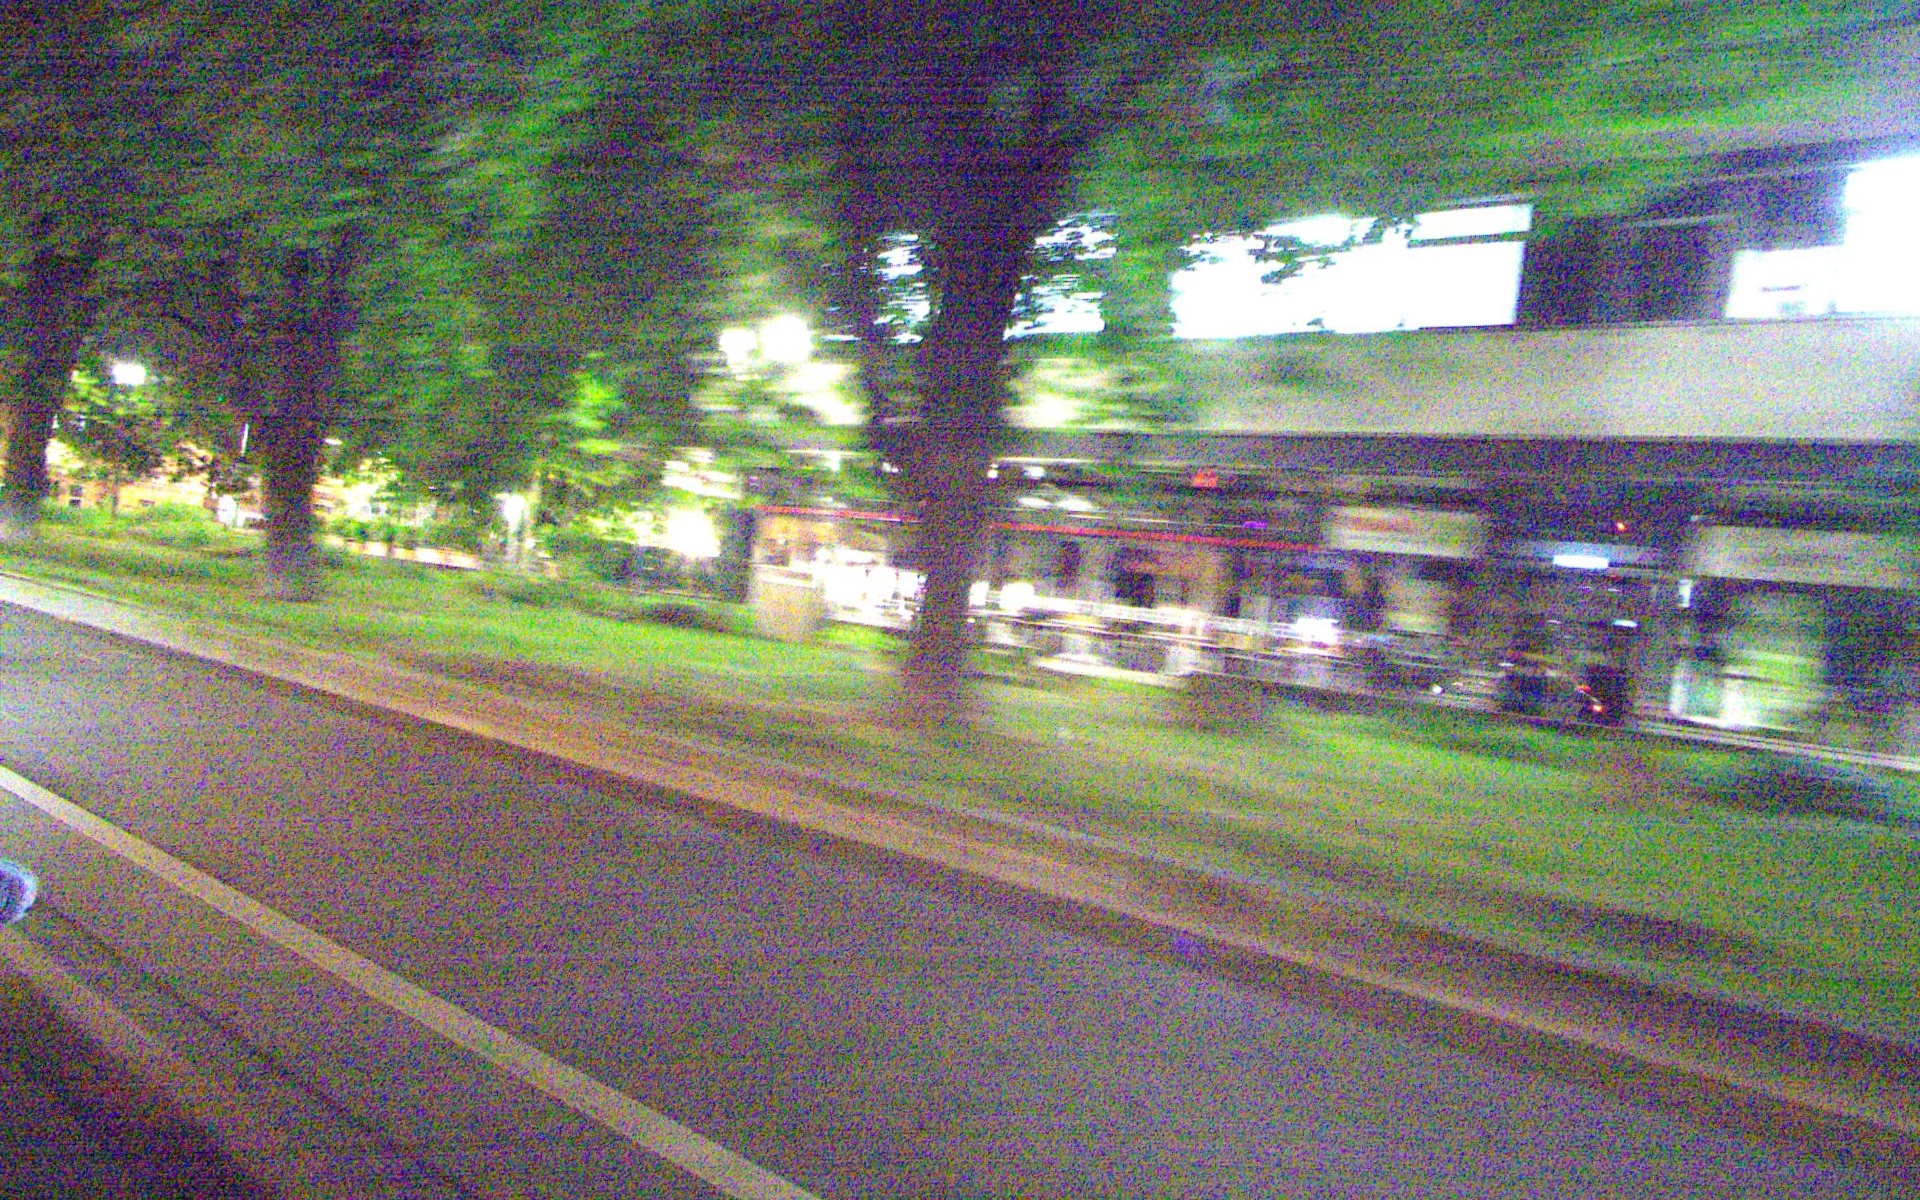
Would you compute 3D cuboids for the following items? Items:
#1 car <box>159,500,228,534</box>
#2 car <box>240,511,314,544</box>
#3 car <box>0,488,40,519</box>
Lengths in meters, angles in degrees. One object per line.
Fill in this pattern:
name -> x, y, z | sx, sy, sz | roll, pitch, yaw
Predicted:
car -> -44.247, -4.807, 58.045 | 4.030, 1.553, 1.770 | 7, 1, 31
car -> -42.598, -4.507, 62.718 | 4.809, 1.532, 1.891 | 7, 1, 30
car -> -57.863, -5.938, 60.949 | 3.930, 1.553, 1.785 | 7, 1, 27
